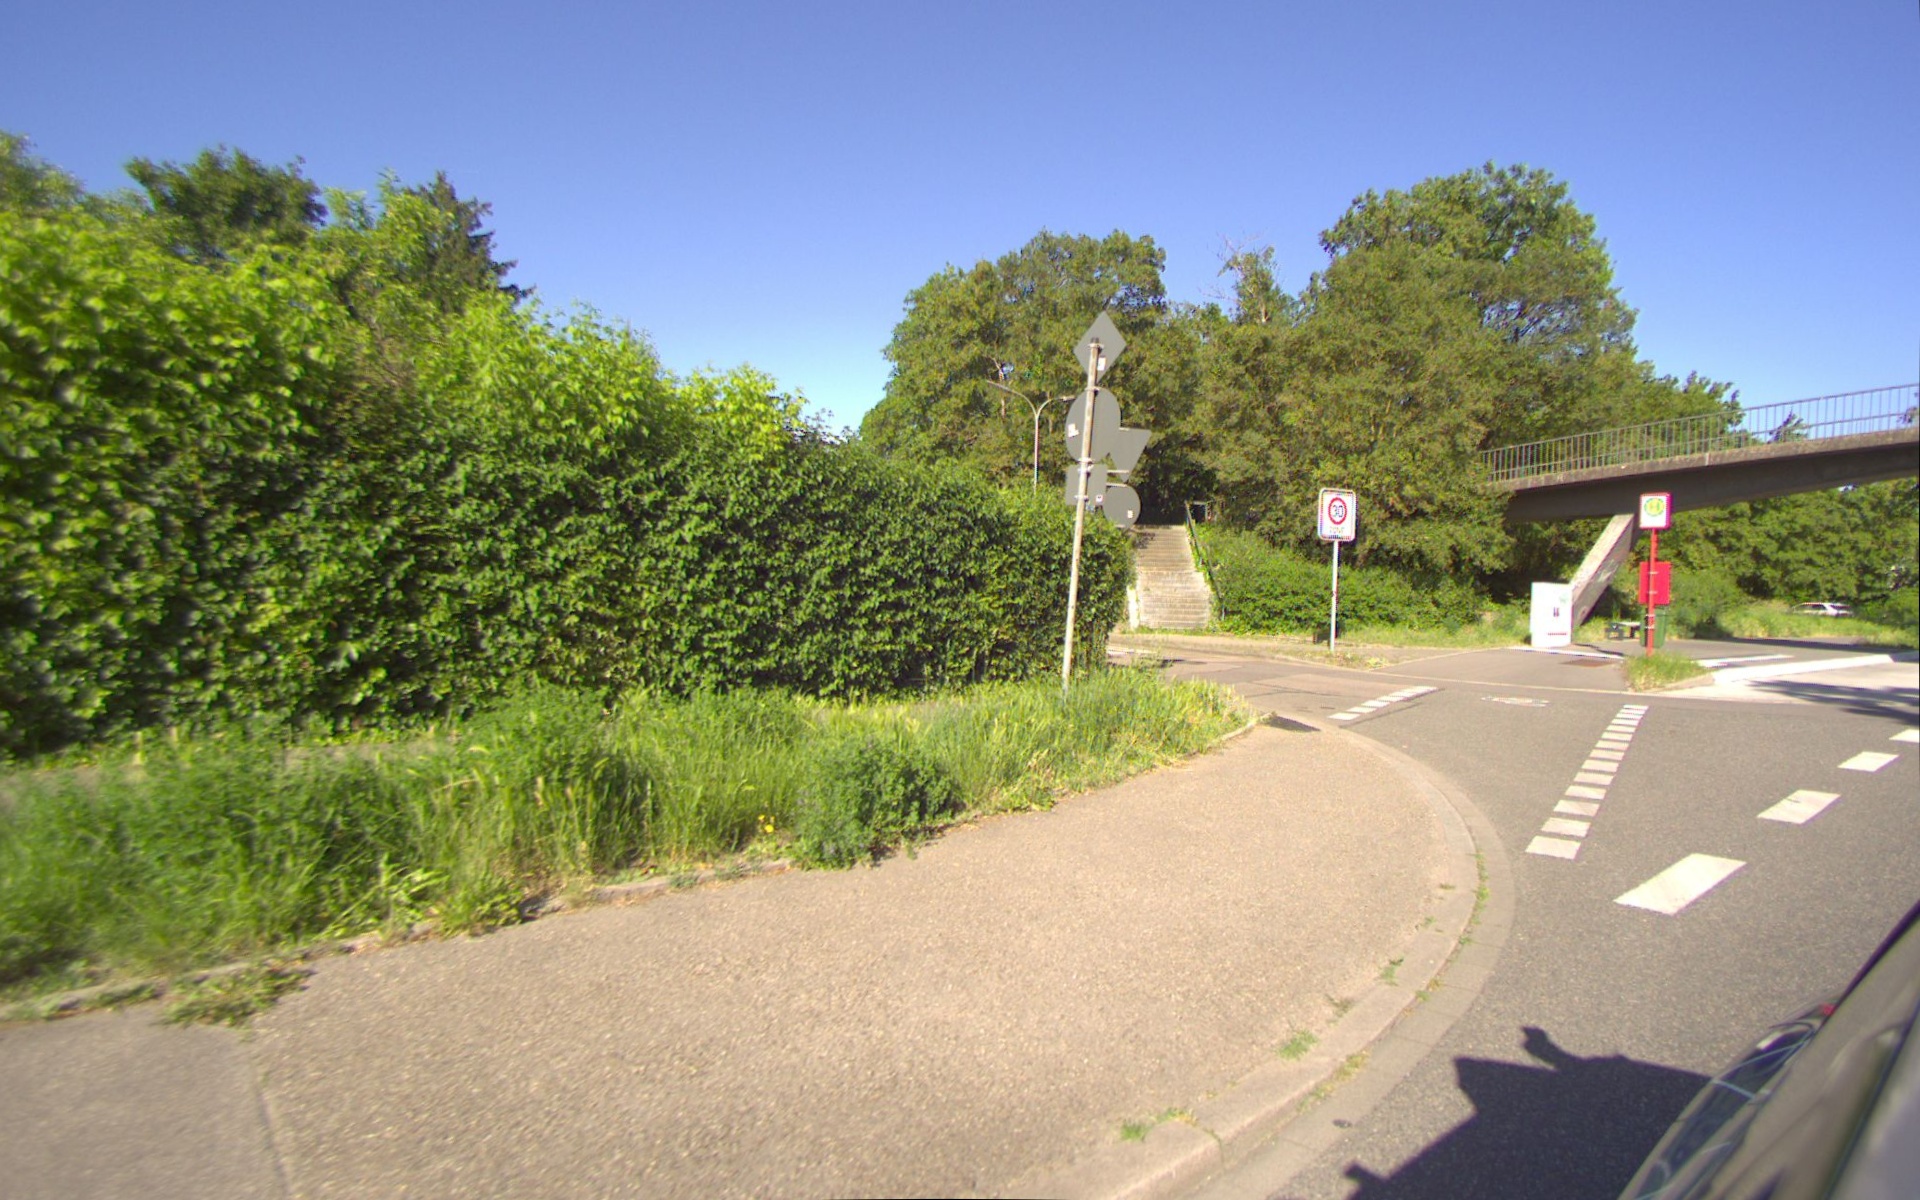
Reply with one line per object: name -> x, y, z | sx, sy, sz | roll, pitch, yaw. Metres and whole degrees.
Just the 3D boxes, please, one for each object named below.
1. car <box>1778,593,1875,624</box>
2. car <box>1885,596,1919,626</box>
car -> 58.914, 0.538, 68.906 | 2.029, 1.892, 4.538 | 3, 0, -29
car -> 61.863, 0.773, 63.917 | 1.893, 1.824, 4.652 | 3, 0, -29
